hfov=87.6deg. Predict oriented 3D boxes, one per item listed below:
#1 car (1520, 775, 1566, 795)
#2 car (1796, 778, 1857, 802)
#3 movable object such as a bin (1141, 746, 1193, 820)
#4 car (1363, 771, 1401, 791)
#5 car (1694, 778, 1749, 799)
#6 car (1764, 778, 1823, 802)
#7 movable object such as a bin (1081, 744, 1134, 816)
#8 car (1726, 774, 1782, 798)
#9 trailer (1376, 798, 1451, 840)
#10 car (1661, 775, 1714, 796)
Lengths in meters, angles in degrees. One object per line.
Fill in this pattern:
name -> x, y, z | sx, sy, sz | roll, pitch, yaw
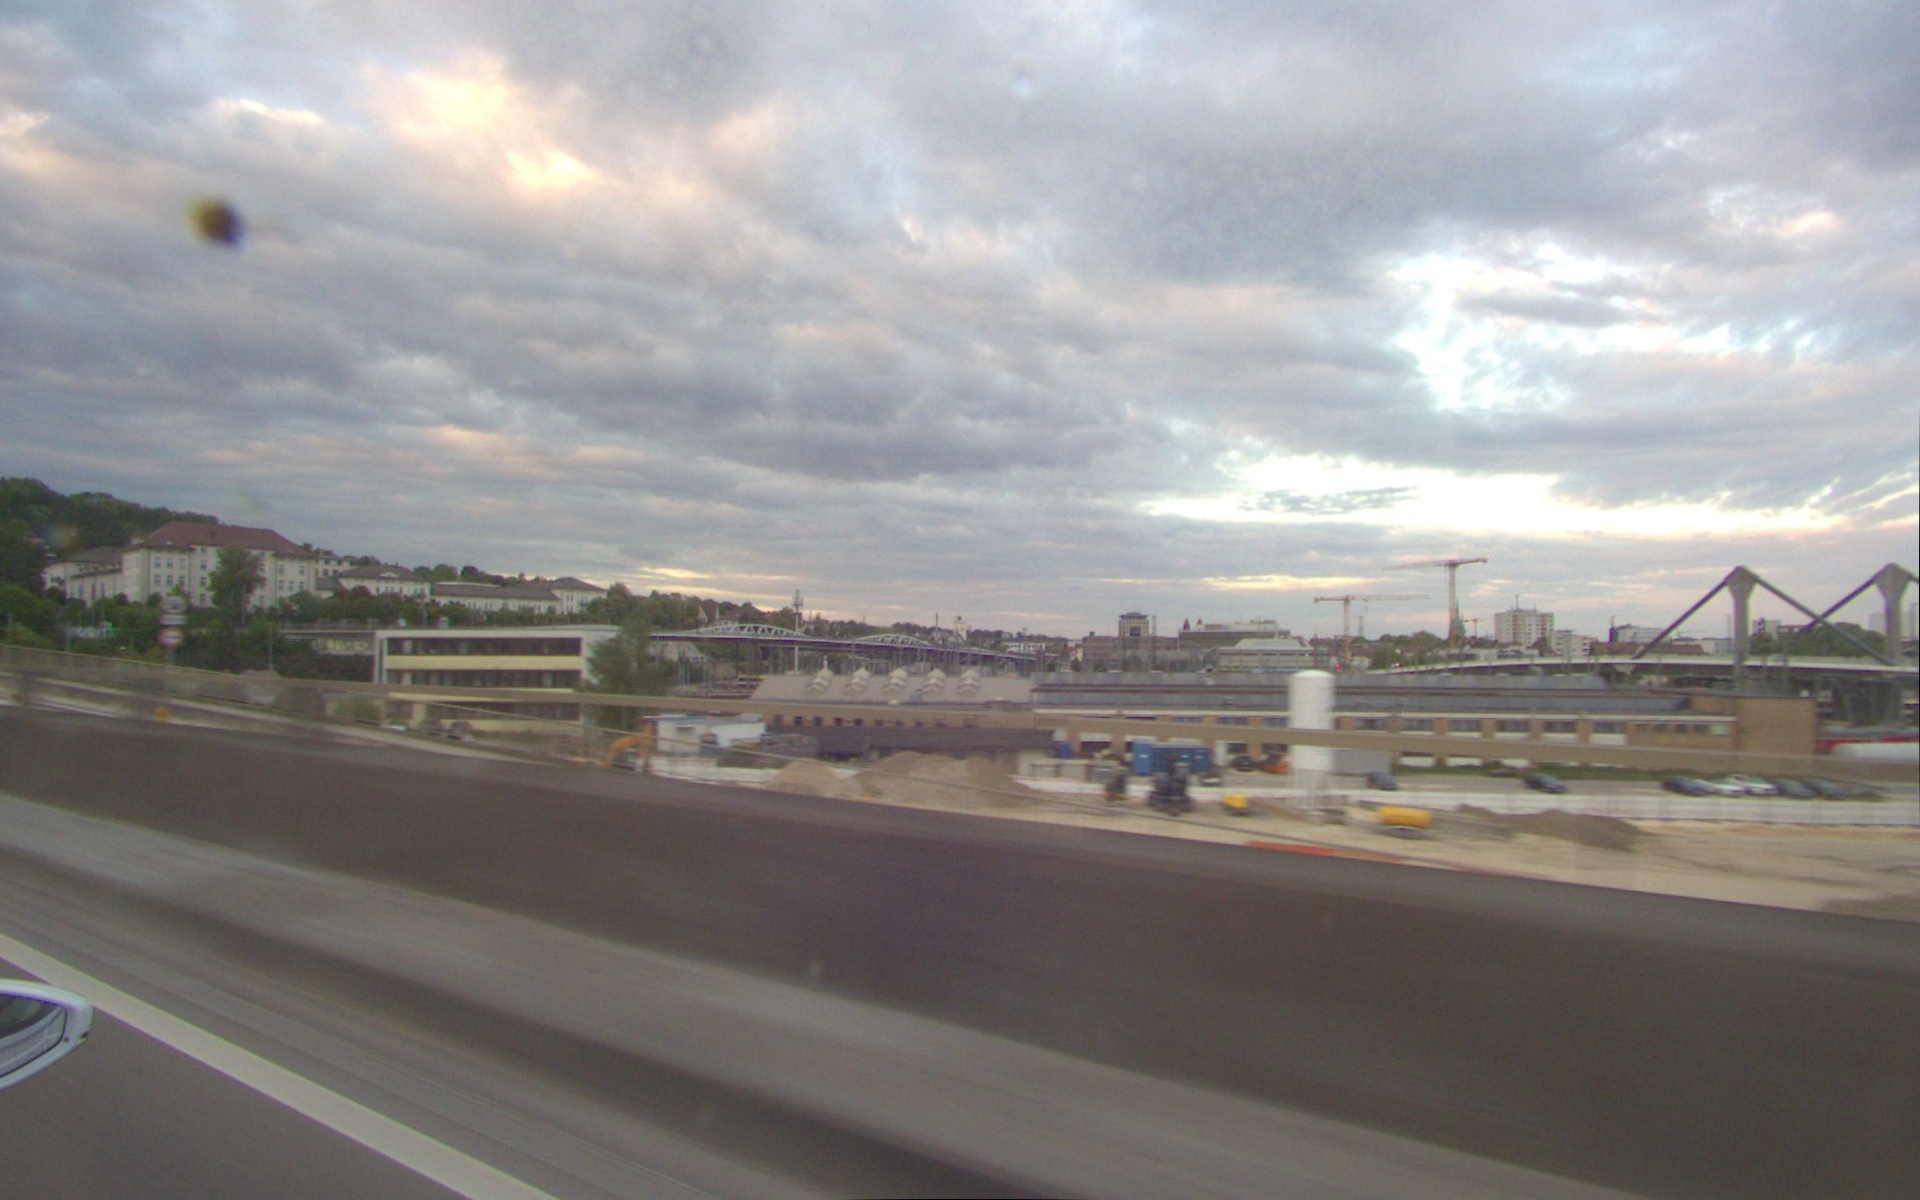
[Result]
car -> 51.733, 16.401, 88.898 | 1.835, 1.435, 4.009 | 4, -7, 1
car -> 74.824, 16.405, 86.514 | 1.835, 1.669, 4.009 | 4, -7, 1
movable object such as a bin -> 13.326, 11.624, 64.253 | 2.735, 4.357, 4.960 | -1, -7, 18
car -> 37.920, 16.284, 90.078 | 1.835, 1.435, 4.009 | 4, -7, 1
car -> 66.794, 16.507, 87.859 | 1.835, 1.435, 4.009 | 4, -7, 1
car -> 72.286, 16.439, 86.896 | 1.835, 1.669, 4.009 | 4, -7, 1
movable object such as a bin -> 9.704, 11.668, 65.567 | 2.735, 4.357, 4.960 | -1, -7, 18
car -> 69.599, 16.296, 87.837 | 1.835, 1.733, 4.009 | 4, -7, 1
trailer -> 25.651, 12.361, 56.634 | 3.781, 1.823, 1.998 | 1, -7, 26
car -> 64.048, 16.311, 88.206 | 1.835, 1.435, 4.009 | 4, -7, 1
